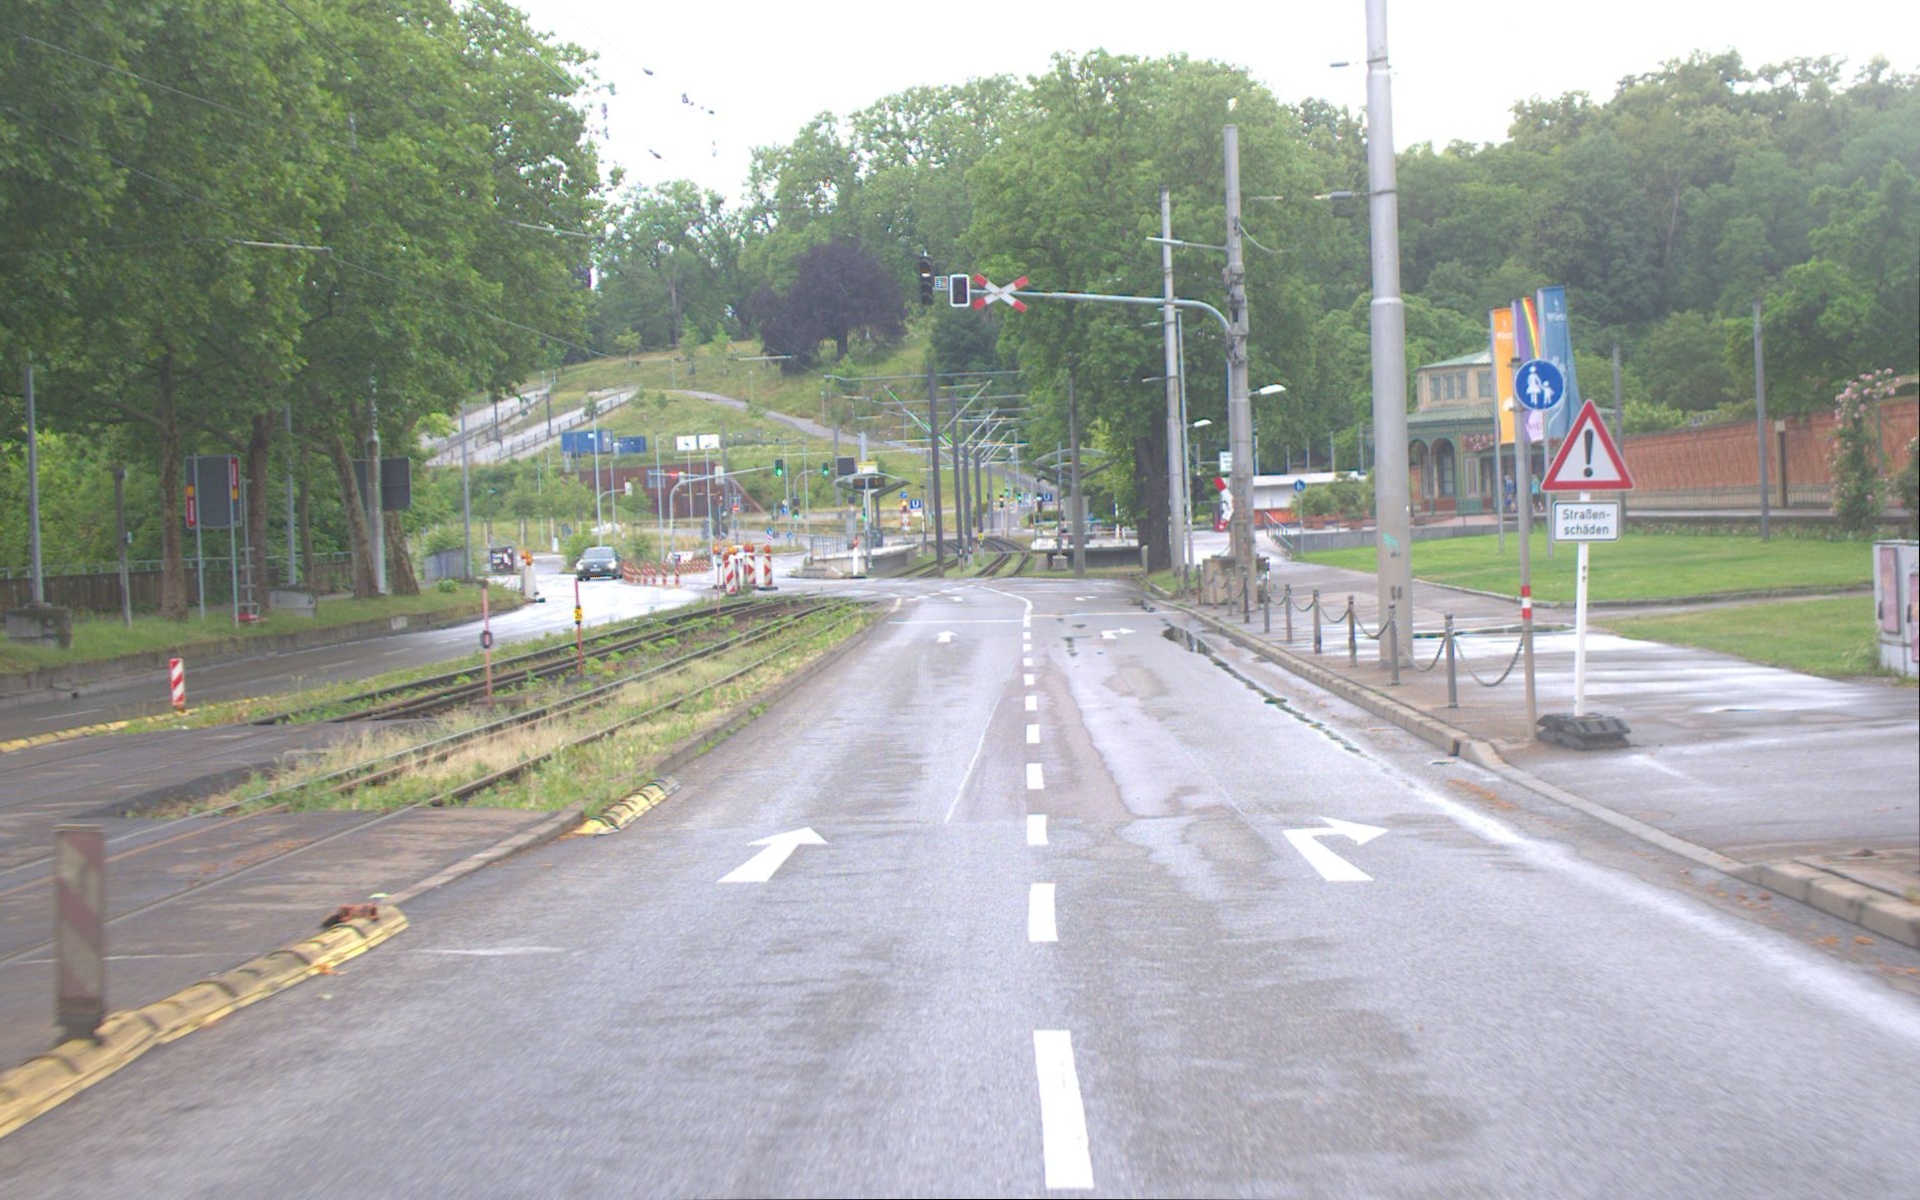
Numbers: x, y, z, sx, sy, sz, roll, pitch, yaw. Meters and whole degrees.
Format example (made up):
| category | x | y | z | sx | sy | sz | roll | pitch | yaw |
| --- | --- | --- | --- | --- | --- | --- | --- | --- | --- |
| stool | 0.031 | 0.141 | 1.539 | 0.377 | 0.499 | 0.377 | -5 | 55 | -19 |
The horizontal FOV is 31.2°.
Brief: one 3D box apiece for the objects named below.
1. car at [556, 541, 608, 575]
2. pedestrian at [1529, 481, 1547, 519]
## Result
| category | x | y | z | sx | sy | sz | roll | pitch | yaw |
| --- | --- | --- | --- | --- | --- | --- | --- | --- | --- |
| car | -16.915 | -1.896 | 154.044 | 1.746 | 1.425 | 4.561 | -4 | 1 | 0 |
| pedestrian | 25.566 | -4.423 | 152.058 | 0.551 | 1.651 | 0.468 | -2 | 0 | 36 |
